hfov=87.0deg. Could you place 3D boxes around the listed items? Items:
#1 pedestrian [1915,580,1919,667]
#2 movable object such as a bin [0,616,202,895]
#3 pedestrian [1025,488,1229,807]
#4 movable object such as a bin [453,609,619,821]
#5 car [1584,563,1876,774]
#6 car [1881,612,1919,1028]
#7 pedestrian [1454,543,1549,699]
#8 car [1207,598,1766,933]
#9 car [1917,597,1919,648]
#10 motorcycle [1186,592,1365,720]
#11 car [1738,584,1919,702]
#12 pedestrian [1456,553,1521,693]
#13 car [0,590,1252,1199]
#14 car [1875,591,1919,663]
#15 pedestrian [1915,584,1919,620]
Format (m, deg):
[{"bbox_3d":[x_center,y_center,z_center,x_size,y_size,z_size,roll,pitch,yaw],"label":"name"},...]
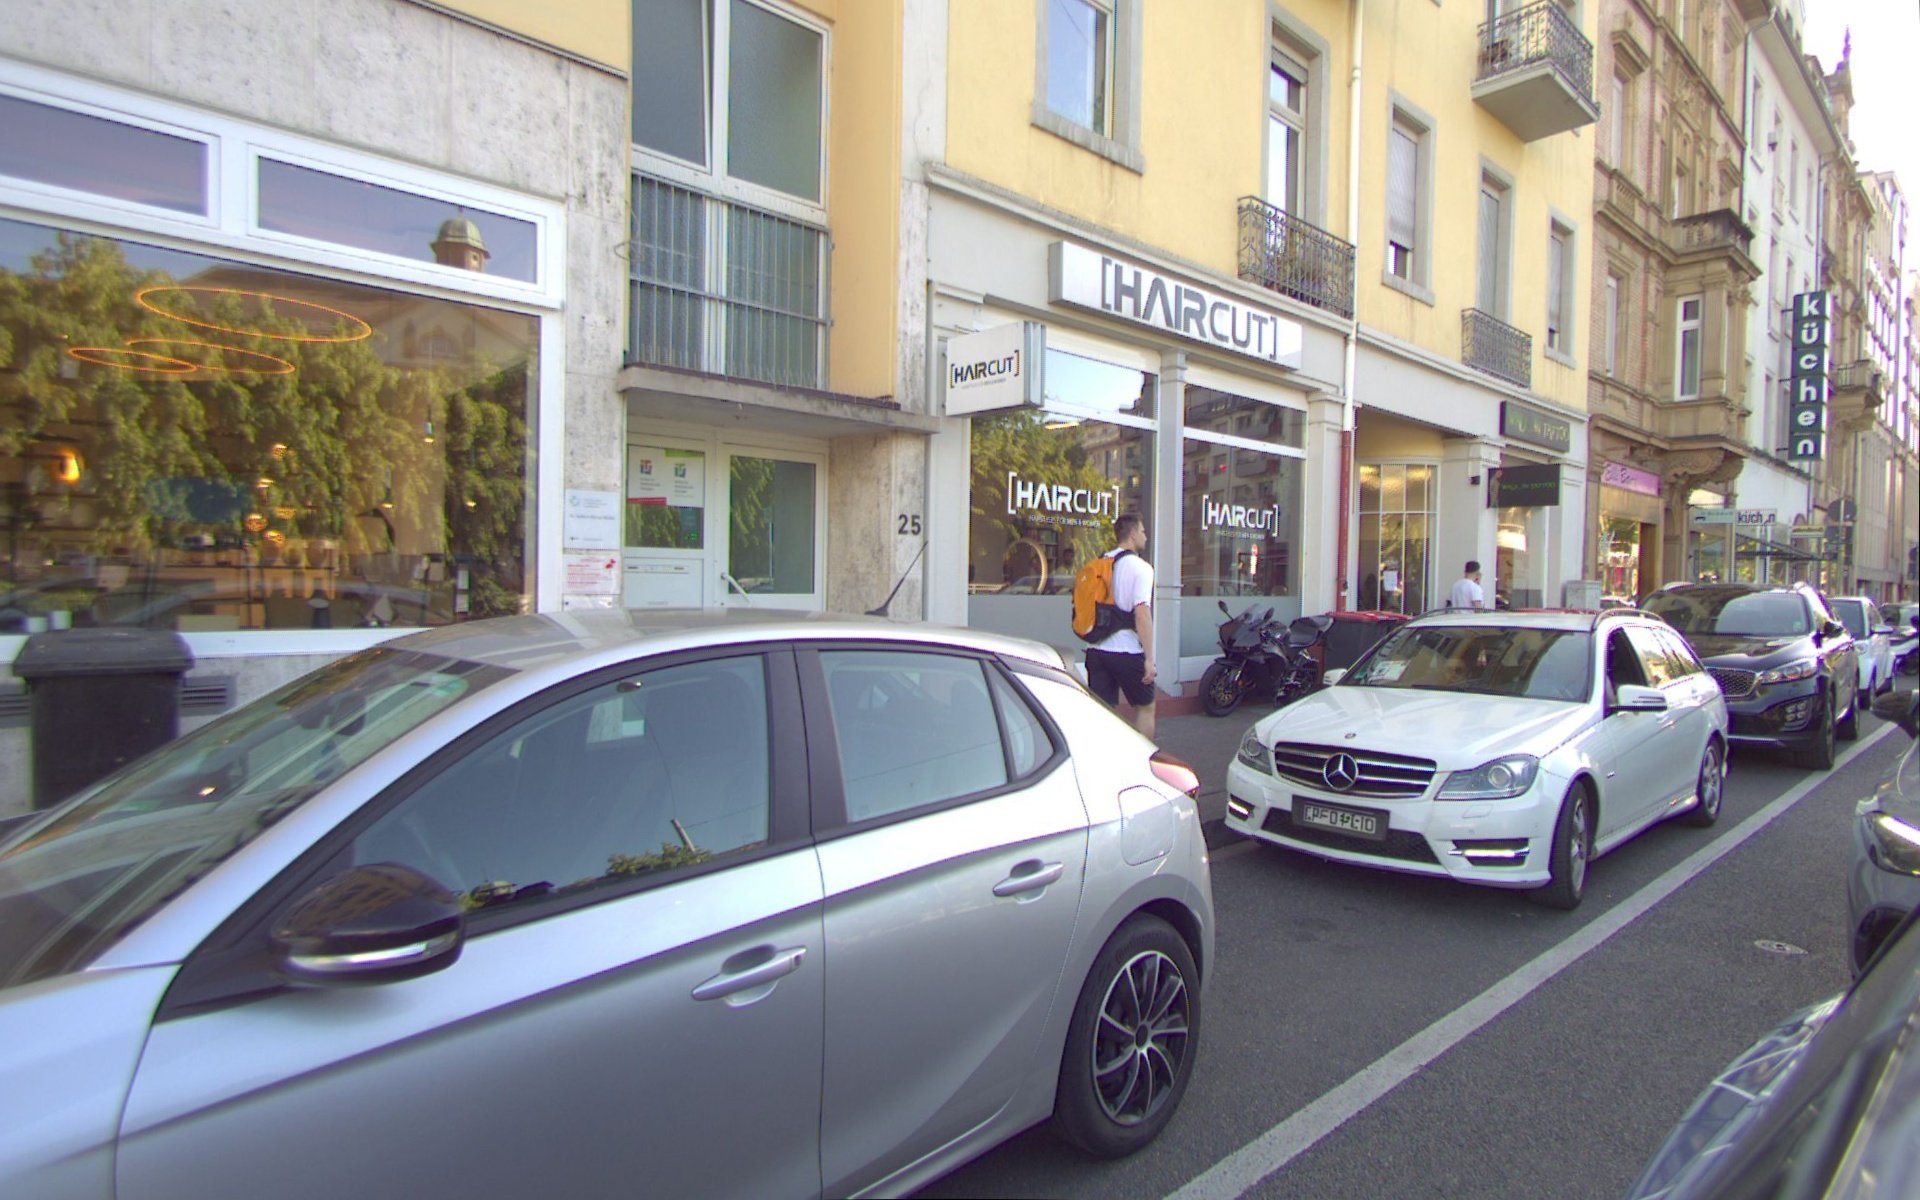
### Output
[{"bbox_3d":[19.873,0.473,20.259,0.802,1.741,0.839,0,0,-22],"label":"pedestrian"},{"bbox_3d":[-3.670,0.597,4.323,0.639,1.036,0.737,0,0,-41],"label":"movable object such as a bin"},{"bbox_3d":[1.060,0.256,6.467,0.964,1.845,0.811,0,2,-37],"label":"pedestrian"},{"bbox_3d":[-2.323,0.579,5.536,0.639,1.036,0.737,0,0,-41],"label":"movable object such as a bin"},{"bbox_3d":[8.013,0.529,10.365,4.338,1.711,1.802,-1,0,-45],"label":"car"},{"bbox_3d":[5.401,0.748,4.375,4.397,1.385,1.767,-1,1,-43],"label":"car"},{"bbox_3d":[6.823,0.254,12.784,0.961,1.900,0.532,0,0,18],"label":"pedestrian"},{"bbox_3d":[3.537,0.707,6.386,4.301,1.389,1.671,-1,0,-41],"label":"car"},{"bbox_3d":[26.615,0.574,26.924,3.306,1.334,1.459,-1,0,-42],"label":"car"},{"bbox_3d":[3.305,0.522,10.503,2.073,1.144,0.735,-1,5,-41],"label":"motorcycle"},{"bbox_3d":[12.775,0.546,14.851,2.945,1.542,1.582,-1,0,-41],"label":"car"},{"bbox_3d":[7.244,0.300,13.873,0.627,1.859,0.760,0,0,41],"label":"pedestrian"},{"bbox_3d":[-1.002,0.713,2.306,3.625,1.455,1.585,-1,0,-43],"label":"car"},{"bbox_3d":[21.903,0.565,22.806,3.736,1.509,1.691,-1,0,-45],"label":"car"},{"bbox_3d":[47.299,0.103,49.467,0.809,1.782,0.825,0,0,-42],"label":"pedestrian"}]
